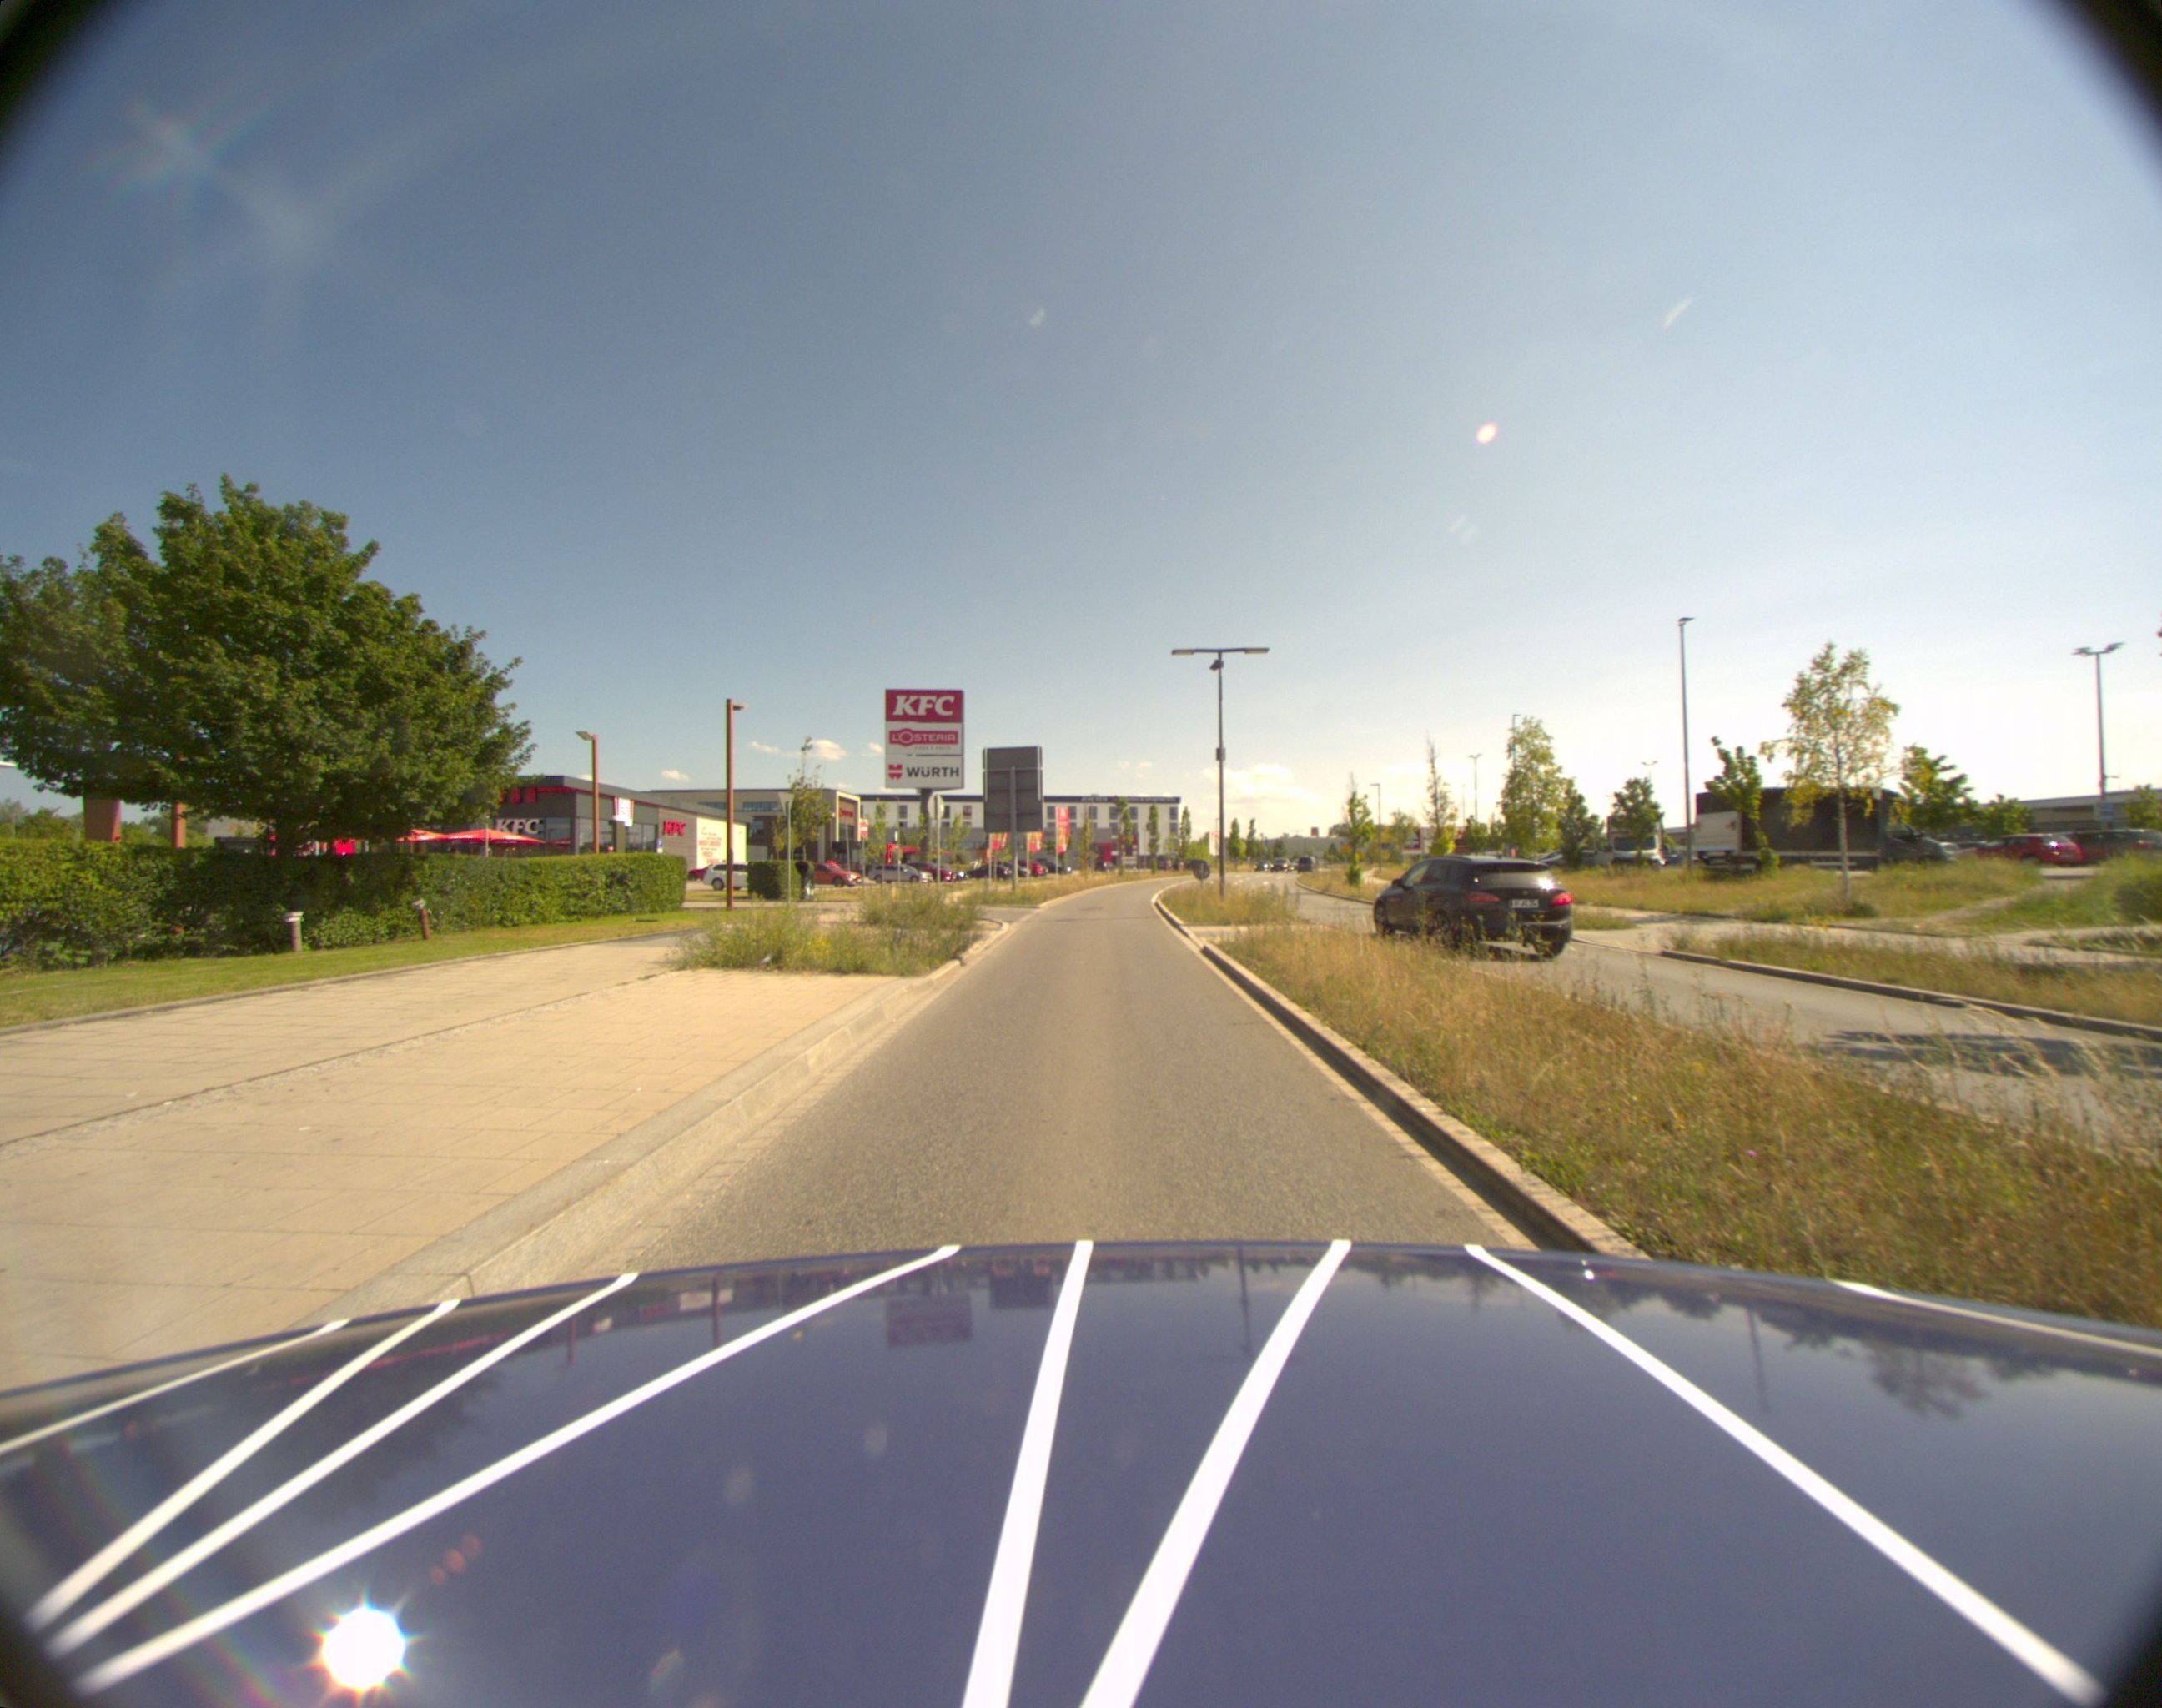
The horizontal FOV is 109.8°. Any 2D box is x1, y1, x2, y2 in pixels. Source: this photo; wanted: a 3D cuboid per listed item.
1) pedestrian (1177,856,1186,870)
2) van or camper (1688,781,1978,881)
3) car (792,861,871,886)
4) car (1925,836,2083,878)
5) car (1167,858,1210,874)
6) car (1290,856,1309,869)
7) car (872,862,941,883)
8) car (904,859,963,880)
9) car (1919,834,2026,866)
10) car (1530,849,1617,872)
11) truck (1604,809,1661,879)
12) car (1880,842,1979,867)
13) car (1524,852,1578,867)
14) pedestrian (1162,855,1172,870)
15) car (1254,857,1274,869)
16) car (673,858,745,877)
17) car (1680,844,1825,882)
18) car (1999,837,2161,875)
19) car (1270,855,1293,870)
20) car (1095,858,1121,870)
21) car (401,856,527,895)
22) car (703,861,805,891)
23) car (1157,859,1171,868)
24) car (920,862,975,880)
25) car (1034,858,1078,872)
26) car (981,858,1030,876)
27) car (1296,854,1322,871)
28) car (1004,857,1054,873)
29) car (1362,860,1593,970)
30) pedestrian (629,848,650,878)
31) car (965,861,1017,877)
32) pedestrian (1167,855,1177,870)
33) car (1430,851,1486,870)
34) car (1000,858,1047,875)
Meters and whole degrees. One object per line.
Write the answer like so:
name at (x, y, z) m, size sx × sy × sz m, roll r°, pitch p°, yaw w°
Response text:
pedestrian at (10.946, 1.009, 82.729) m, size 0.793 × 1.461 × 0.950 m, roll -1°, pitch 0°, yaw 23°
van or camper at (27.728, -0.773, 28.365) m, size 7.707 × 3.448 × 2.557 m, roll -1°, pitch 0°, yaw 8°
car at (-15.241, 1.198, 46.478) m, size 4.211 × 1.481 × 1.870 m, roll 0°, pitch -1°, yaw 9°
car at (41.194, 0.141, 34.106) m, size 1.836 × 1.763 × 4.382 m, roll -1°, pitch 0°, yaw 1°
car at (12.164, 1.371, 85.924) m, size 4.456 × 1.669 × 1.906 m, roll -2°, pitch -2°, yaw 22°
car at (28.970, 1.148, 100.780) m, size 1.952 × 1.716 × 4.434 m, roll 1°, pitch 0°, yaw 22°
car at (-12.868, 1.324, 56.136) m, size 4.561 × 1.481 × 1.871 m, roll 0°, pitch 0°, yaw 13°
car at (-11.764, 1.243, 60.673) m, size 4.158 × 1.655 × 1.871 m, roll 0°, pitch 0°, yaw 17°
car at (58.689, -0.227, 50.173) m, size 1.836 × 2.012 × 4.635 m, roll -1°, pitch 0°, yaw 4°
car at (32.349, 0.430, 50.004) m, size 4.429 × 1.375 × 1.978 m, roll -1°, pitch 0°, yaw 18°
truck at (29.923, -0.476, 41.238) m, size 2.318 × 3.444 × 7.510 m, roll -1°, pitch 0°, yaw 36°
car at (55.953, 0.041, 50.224) m, size 1.836 × 1.573 × 4.383 m, roll -1°, pitch 0°, yaw 4°
car at (61.889, 0.738, 100.169) m, size 5.689 × 1.953 × 2.002 m, roll 0°, pitch 0°, yaw 14°
pedestrian at (9.432, 0.929, 83.254) m, size 0.809 × 1.618 × 0.867 m, roll -1°, pitch 0°, yaw 23°
car at (23.258, 1.138, 96.491) m, size 1.783 × 1.485 × 4.007 m, roll -1°, pitch 0°, yaw 24°
car at (-28.211, 1.025, 57.688) m, size 4.566 × 1.423 × 1.869 m, roll 0°, pitch 0°, yaw 2°
car at (28.686, 0.372, 32.572) m, size 4.376 × 1.543 × 1.839 m, roll -1°, pitch 0°, yaw 7°
car at (44.132, 0.104, 33.601) m, size 1.836 × 1.553 × 4.382 m, roll -1°, pitch 0°, yaw 1°
car at (22.775, 0.927, 86.313) m, size 1.753 × 1.677 × 4.389 m, roll 0°, pitch -1°, yaw 25°
car at (3.405, 1.264, 96.069) m, size 1.781 × 1.531 × 4.176 m, roll -1°, pitch 0°, yaw 24°
car at (-27.310, 0.936, 33.714) m, size 4.165 × 1.625 × 1.791 m, roll 0°, pitch 0°, yaw 1°
car at (-16.787, 1.112, 39.102) m, size 4.533 × 1.481 × 1.870 m, roll 0°, pitch -1°, yaw 9°
car at (12.966, 1.454, 118.682) m, size 1.515 × 1.399 × 4.006 m, roll 0°, pitch -1°, yaw 17°
car at (-11.071, 1.379, 63.202) m, size 4.160 × 1.440 × 1.793 m, roll 0°, pitch 0°, yaw 11°
car at (-2.727, 1.216, 84.121) m, size 4.411 × 1.557 × 1.998 m, roll 0°, pitch -1°, yaw 18°
car at (-7.417, 1.263, 74.865) m, size 4.410 × 1.724 × 1.794 m, roll 0°, pitch 0°, yaw 20°
car at (24.610, 0.941, 81.872) m, size 1.952 × 1.784 × 4.435 m, roll 1°, pitch 0°, yaw 26°
car at (-5.530, 1.174, 80.891) m, size 4.987 × 1.724 × 1.942 m, roll 0°, pitch 0°, yaw 18°
car at (6.461, 0.888, 13.004) m, size 1.763 × 1.534 × 4.241 m, roll 2°, pitch 0°, yaw 1°
pedestrian at (-30.682, 0.628, 52.809) m, size 0.915 × 2.002 × 0.891 m, roll -1°, pitch 0°, yaw 6°
car at (-8.323, 1.389, 70.195) m, size 4.410 × 1.440 × 1.794 m, roll 0°, pitch -1°, yaw 19°
pedestrian at (9.867, 0.931, 82.271) m, size 0.801 × 1.620 × 0.806 m, roll -1°, pitch 0°, yaw 23°
car at (36.062, 0.632, 72.781) m, size 4.765 × 1.633 × 2.120 m, roll -2°, pitch -2°, yaw 26°
car at (-5.854, 1.270, 77.489) m, size 4.410 × 1.724 × 1.794 m, roll 0°, pitch 0°, yaw 20°
